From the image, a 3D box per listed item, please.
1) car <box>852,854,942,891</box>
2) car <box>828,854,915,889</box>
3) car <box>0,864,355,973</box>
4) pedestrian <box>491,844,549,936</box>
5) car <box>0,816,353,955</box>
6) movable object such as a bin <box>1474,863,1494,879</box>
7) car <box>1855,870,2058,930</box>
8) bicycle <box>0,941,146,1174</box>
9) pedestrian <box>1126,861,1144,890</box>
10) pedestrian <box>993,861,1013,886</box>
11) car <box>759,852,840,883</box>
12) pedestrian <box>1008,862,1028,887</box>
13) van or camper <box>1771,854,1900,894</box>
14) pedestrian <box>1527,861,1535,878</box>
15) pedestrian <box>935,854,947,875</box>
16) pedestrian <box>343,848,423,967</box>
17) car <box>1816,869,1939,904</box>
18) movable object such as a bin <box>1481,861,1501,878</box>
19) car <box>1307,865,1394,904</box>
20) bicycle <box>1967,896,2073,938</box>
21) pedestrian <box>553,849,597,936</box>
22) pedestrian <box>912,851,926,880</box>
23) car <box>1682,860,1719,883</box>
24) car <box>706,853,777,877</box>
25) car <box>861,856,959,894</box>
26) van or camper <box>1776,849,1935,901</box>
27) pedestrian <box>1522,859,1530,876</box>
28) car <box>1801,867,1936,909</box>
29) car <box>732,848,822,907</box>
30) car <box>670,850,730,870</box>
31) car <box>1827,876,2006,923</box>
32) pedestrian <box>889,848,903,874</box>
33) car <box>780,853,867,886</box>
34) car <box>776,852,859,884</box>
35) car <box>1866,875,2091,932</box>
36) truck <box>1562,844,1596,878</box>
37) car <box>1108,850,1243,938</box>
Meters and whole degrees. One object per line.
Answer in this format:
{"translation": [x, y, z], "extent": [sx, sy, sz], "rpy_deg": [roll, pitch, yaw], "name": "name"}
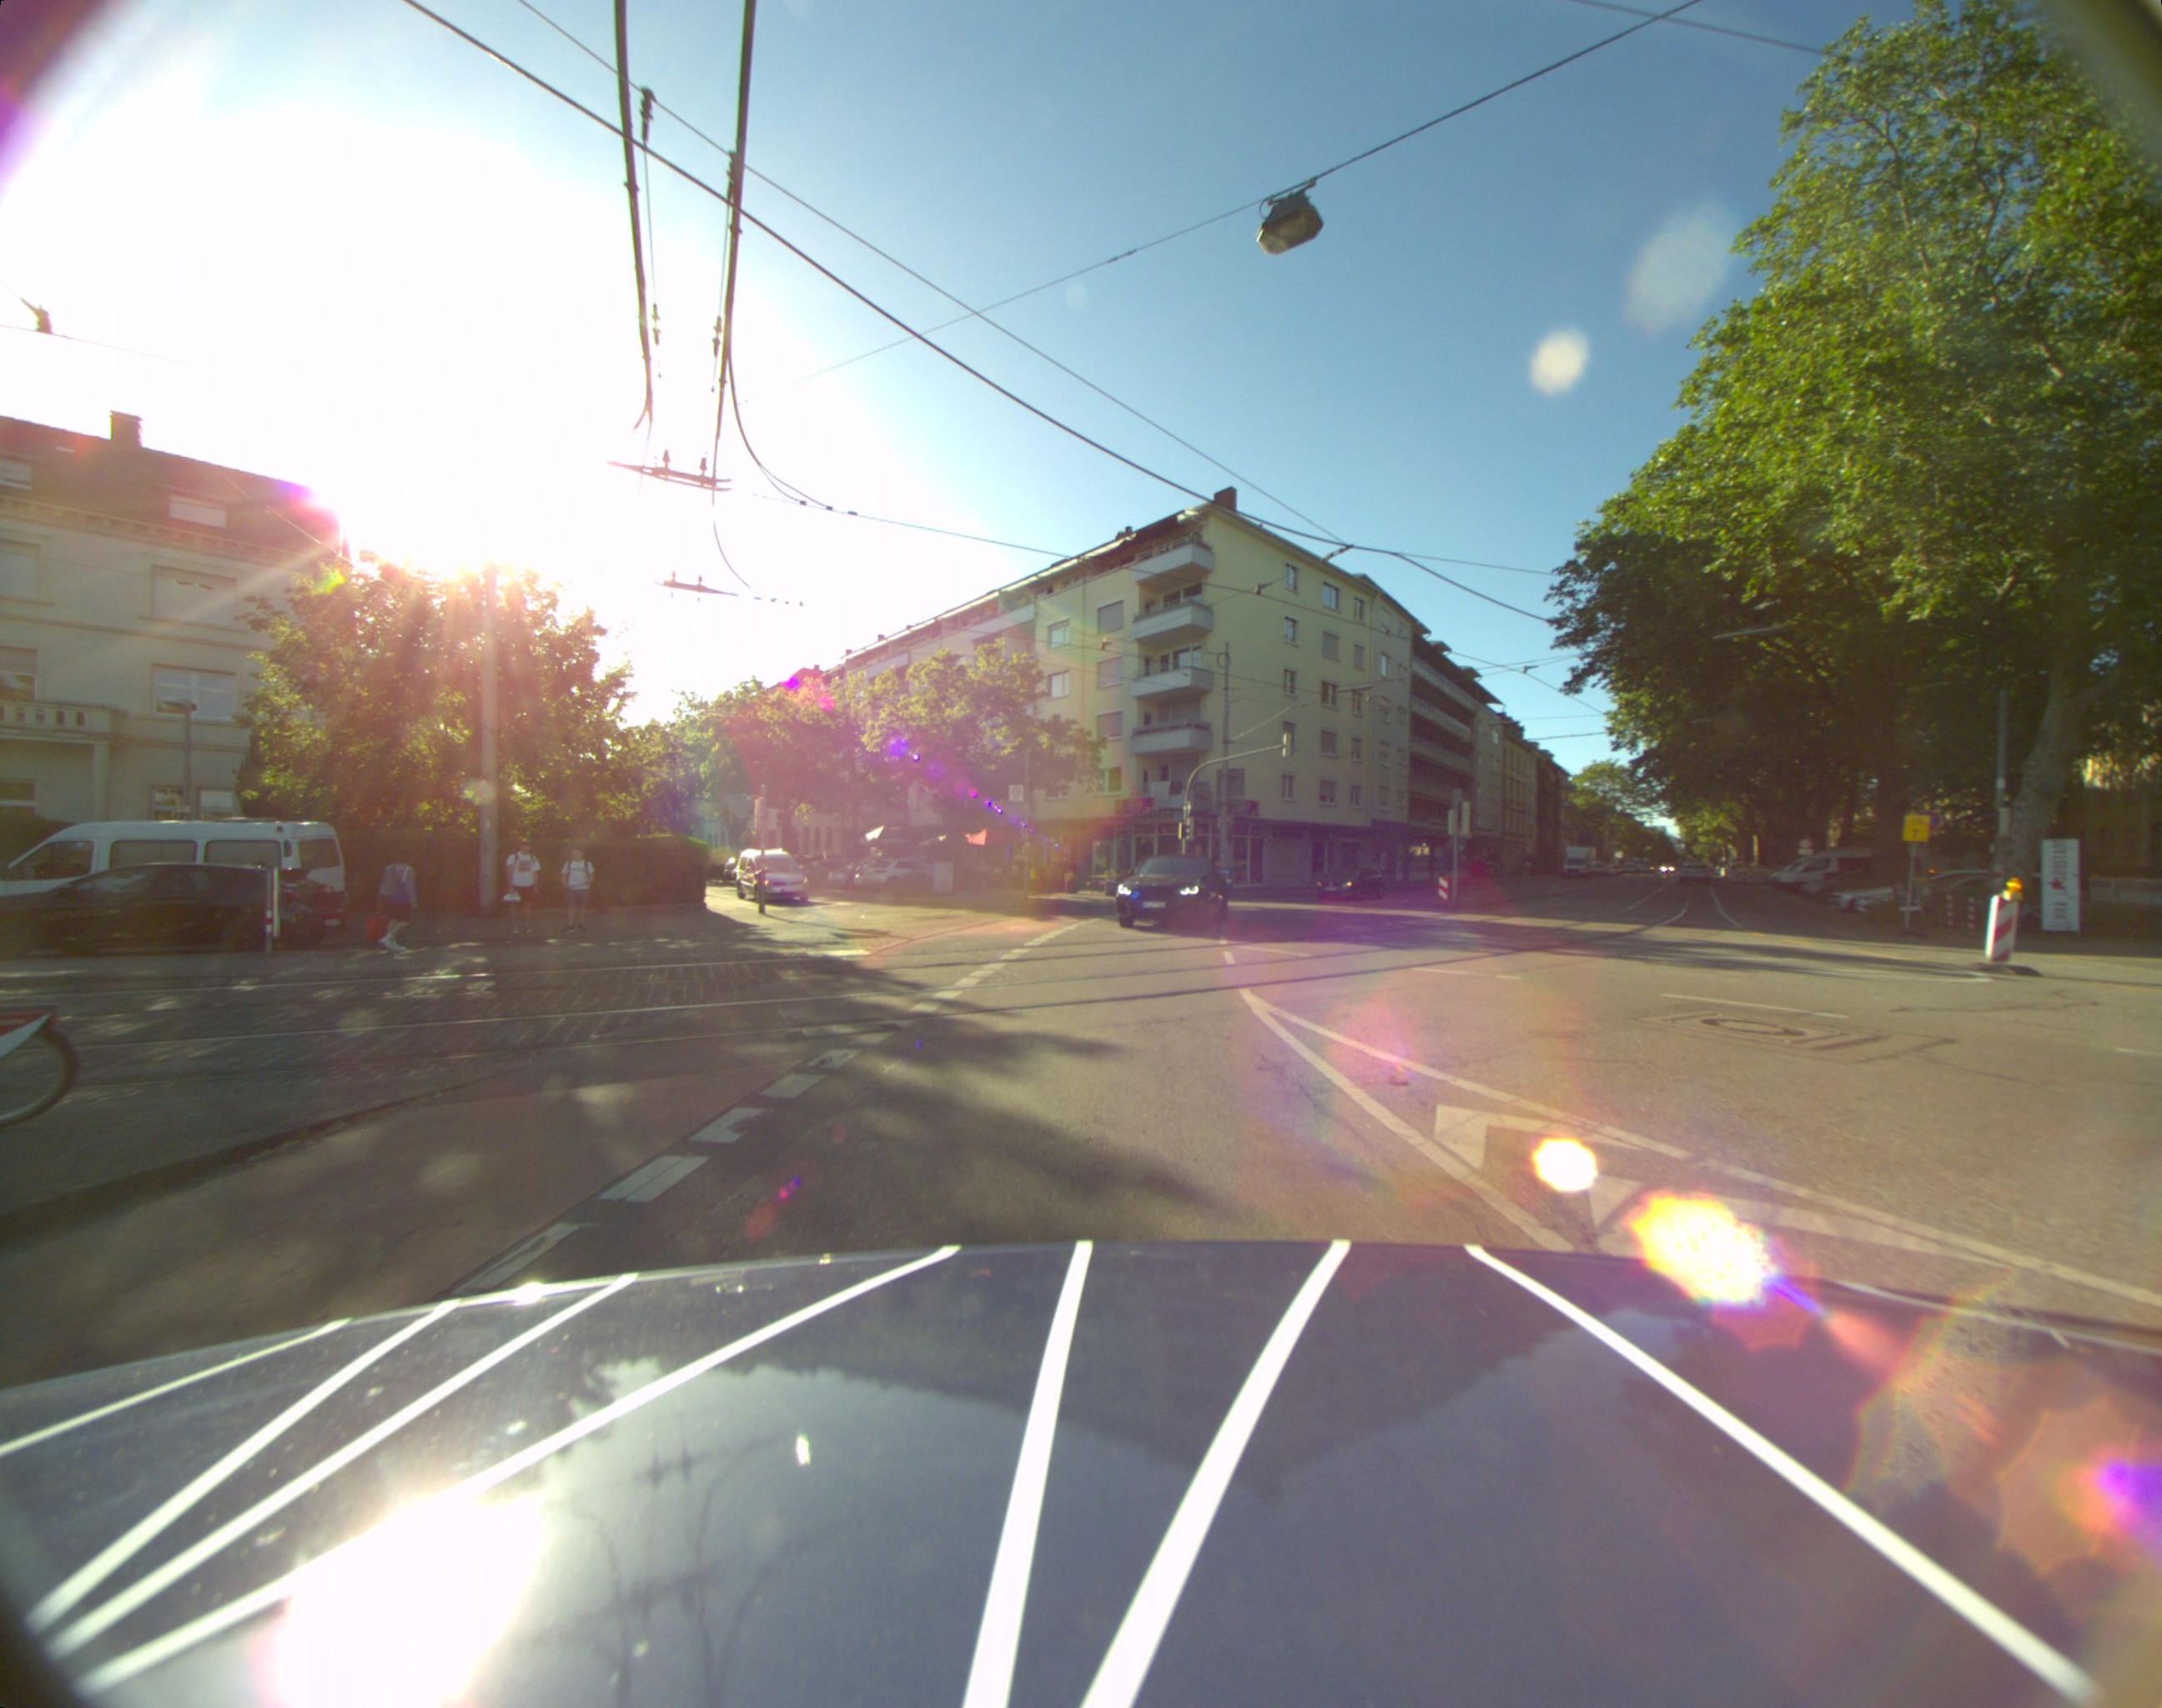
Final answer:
{"translation": [-8.866, 0.838, 36.759], "extent": [3.913, 1.609, 1.711], "rpy_deg": [0, 2, -45], "name": "car"}
{"translation": [-10.497, 0.829, 38.173], "extent": [3.879, 1.609, 1.711], "rpy_deg": [0, 2, -45], "name": "car"}
{"translation": [-14.199, 0.916, 11.717], "extent": [3.944, 1.433, 1.802], "rpy_deg": [0, 2, -22], "name": "car"}
{"translation": [-11.494, 0.717, 15.592], "extent": [0.701, 1.836, 0.704], "rpy_deg": [1, 2, -8], "name": "pedestrian"}
{"translation": [-16.697, 0.475, 13.928], "extent": [4.311, 2.264, 2.092], "rpy_deg": [-1, 1, -23], "name": "car"}
{"translation": [34.967, 1.465, 65.859], "extent": [1.201, 1.402, 1.375], "rpy_deg": [1, 1, 42], "name": "movable object such as a bin"}
{"translation": [27.854, 1.401, 24.409], "extent": [4.071, 1.602, 1.848], "rpy_deg": [0, 2, 43], "name": "car"}
{"translation": [-6.103, 1.070, 3.684], "extent": [1.887, 1.053, 0.825], "rpy_deg": [0, 2, -45], "name": "bicycle"}
{"translation": [2.505, 0.990, 35.243], "extent": [0.608, 1.334, 0.492], "rpy_deg": [-1, 2, -41], "name": "pedestrian"}
{"translation": [-3.939, 0.982, 38.430], "extent": [0.662, 1.211, 0.738], "rpy_deg": [-1, 2, -43], "name": "pedestrian"}
{"translation": [-15.786, 0.703, 42.686], "extent": [3.879, 1.609, 1.711], "rpy_deg": [0, 2, -45], "name": "car"}
{"translation": [-3.128, 1.002, 37.564], "extent": [0.662, 1.211, 0.738], "rpy_deg": [-1, 2, -43], "name": "pedestrian"}
{"translation": [48.277, 1.226, 48.824], "extent": [5.750, 2.371, 2.160], "rpy_deg": [0, 2, 42], "name": "van or camper"}
{"translation": [43.270, 1.493, 73.054], "extent": [0.539, 1.662, 0.632], "rpy_deg": [3, 2, 42], "name": "pedestrian"}
{"translation": [-9.081, 0.659, 49.241], "extent": [0.572, 1.352, 0.672], "rpy_deg": [0, 2, -30], "name": "pedestrian"}
{"translation": [-10.355, 0.762, 11.283], "extent": [0.726, 1.683, 0.702], "rpy_deg": [2, 2, 33], "name": "pedestrian"}
{"translation": [37.027, 1.476, 35.491], "extent": [3.852, 1.438, 1.697], "rpy_deg": [0, 2, 43], "name": "car"}
{"translation": [36.311, 1.390, 67.323], "extent": [1.201, 1.402, 1.375], "rpy_deg": [2, 2, 42], "name": "movable object such as a bin"}
{"translation": [11.372, 1.216, 31.944], "extent": [1.926, 1.397, 3.948], "rpy_deg": [1, 2, 45], "name": "car"}
{"translation": [22.862, 1.518, 18.528], "extent": [1.569, 0.883, 0.359], "rpy_deg": [1, 2, 31], "name": "bicycle"}
{"translation": [-10.690, 0.785, 16.058], "extent": [0.698, 1.782, 0.618], "rpy_deg": [3, 2, 42], "name": "pedestrian"}
{"translation": [-10.333, 0.726, 48.428], "extent": [0.675, 1.801, 0.537], "rpy_deg": [0, 2, -37], "name": "pedestrian"}
{"translation": [48.522, 1.334, 59.468], "extent": [1.994, 1.622, 4.640], "rpy_deg": [2, 2, 41], "name": "car"}
{"translation": [-22.147, 0.678, 49.643], "extent": [3.879, 1.472, 1.711], "rpy_deg": [0, 2, -45], "name": "car"}
{"translation": [-7.722, 0.889, 34.544], "extent": [1.705, 1.572, 4.044], "rpy_deg": [2, 2, 45], "name": "car"}
{"translation": [42.151, 1.040, 41.648], "extent": [5.918, 2.633, 2.160], "rpy_deg": [0, 2, 42], "name": "van or camper"}
{"translation": [43.927, 1.316, 75.030], "extent": [0.539, 1.712, 0.632], "rpy_deg": [3, 2, 42], "name": "pedestrian"}
{"translation": [34.932, 1.468, 33.876], "extent": [4.071, 1.610, 1.848], "rpy_deg": [0, 2, 43], "name": "car"}
{"translation": [-11.118, 0.782, 27.647], "extent": [1.809, 1.804, 4.177], "rpy_deg": [-4, 4, -39], "name": "car"}
{"translation": [-30.225, 0.442, 60.303], "extent": [3.879, 1.472, 1.711], "rpy_deg": [0, 2, -45], "name": "car"}
{"translation": [29.044, 1.543, 26.641], "extent": [4.071, 1.361, 1.848], "rpy_deg": [0, 2, 43], "name": "car"}
{"translation": [-12.163, 0.442, 49.884], "extent": [0.724, 1.699, 0.537], "rpy_deg": [0, 2, -37], "name": "pedestrian"}
{"translation": [-13.282, 0.758, 39.327], "extent": [3.879, 1.609, 1.711], "rpy_deg": [0, 2, -45], "name": "car"}
{"translation": [-14.156, 0.708, 40.904], "extent": [3.879, 1.609, 1.711], "rpy_deg": [0, 2, -45], "name": "car"}
{"translation": [26.271, 1.397, 22.472], "extent": [3.988, 1.409, 1.707], "rpy_deg": [0, 1, 36], "name": "car"}
{"translation": [48.424, 0.610, 73.811], "extent": [2.338, 3.096, 5.223], "rpy_deg": [0, 2, 38], "name": "truck"}
{"translation": [2.430, 0.820, 18.264], "extent": [1.927, 1.742, 4.691], "rpy_deg": [2, 2, 24], "name": "car"}
